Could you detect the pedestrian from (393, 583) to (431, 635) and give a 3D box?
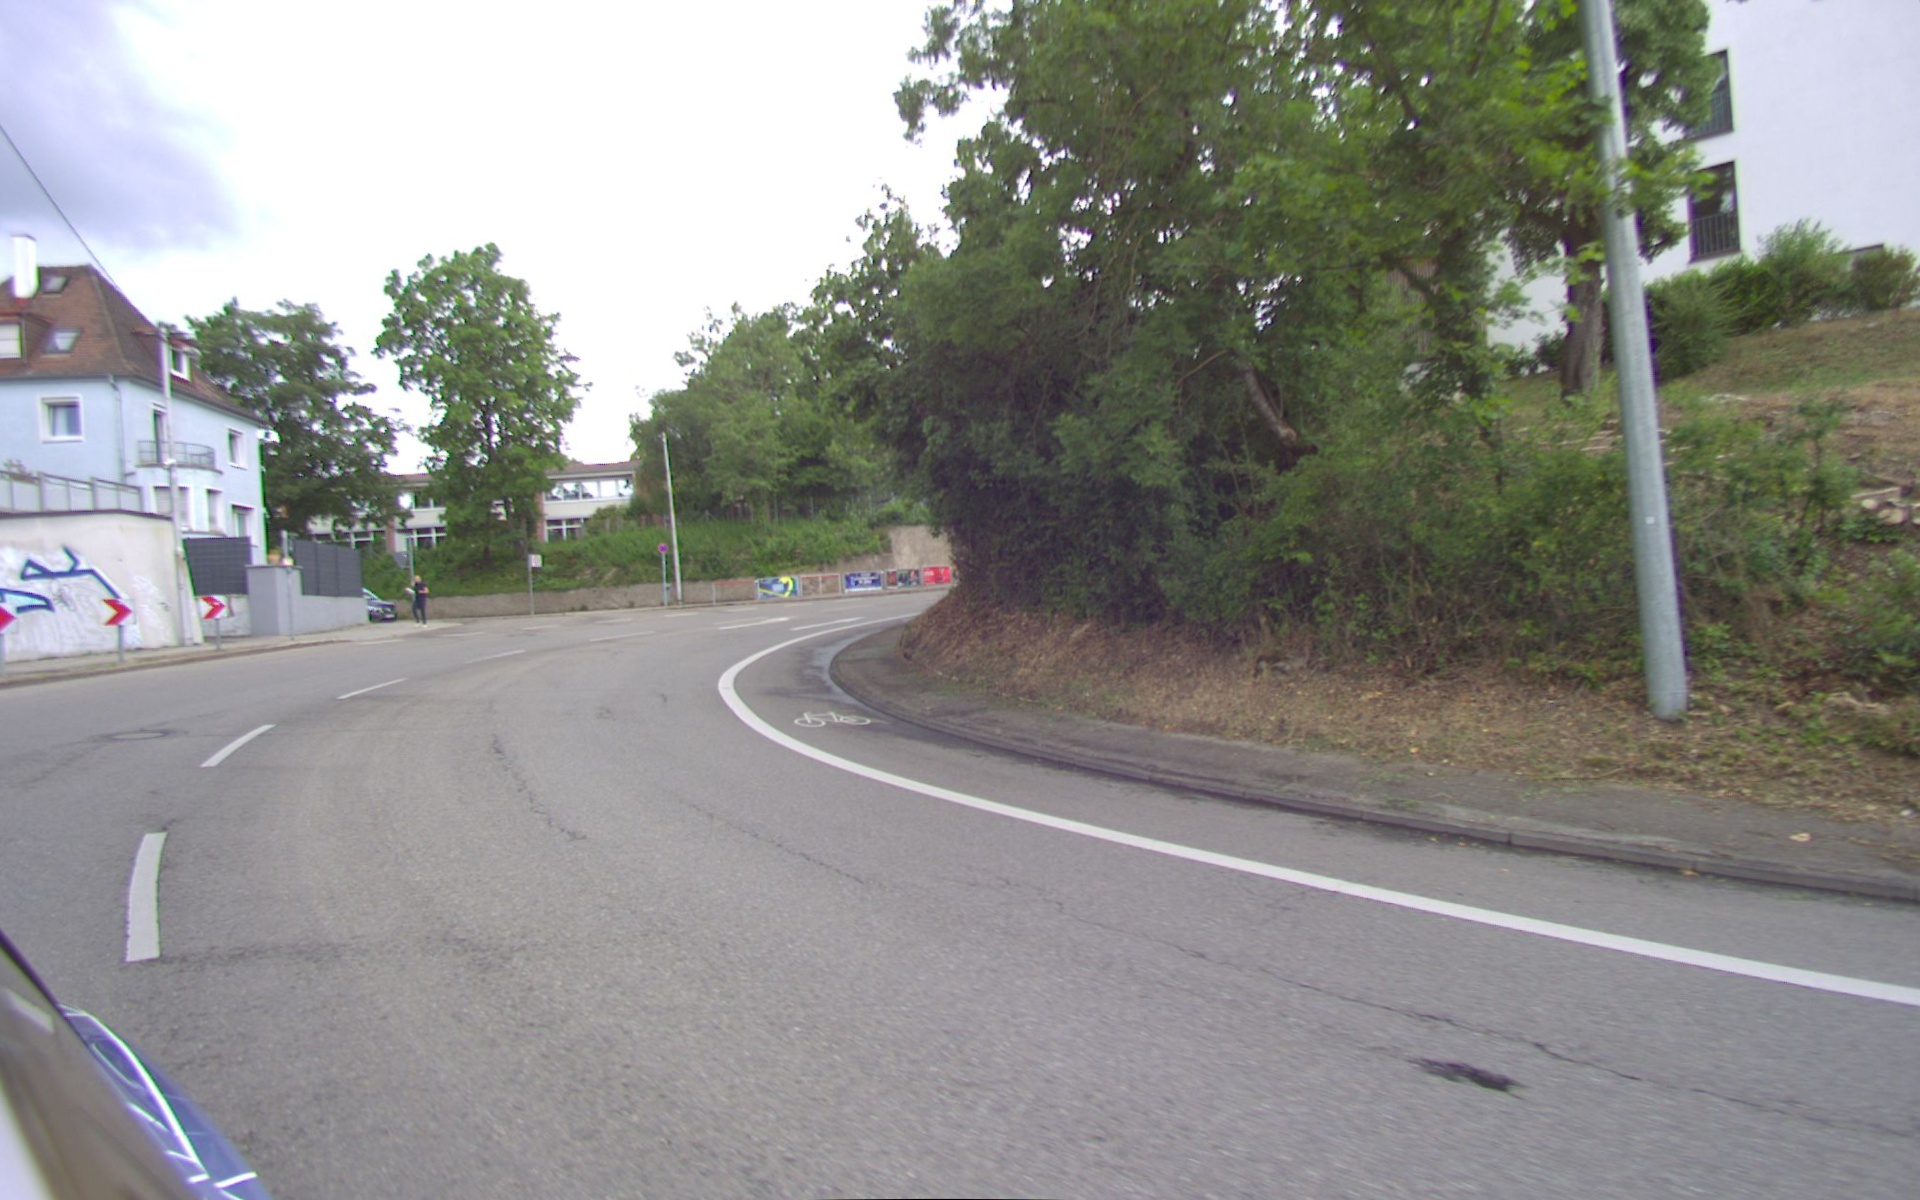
[{"bbox_3d":[-19.666,0.319,36.322,0.573,1.842,0.973,-2,0,34],"label":"pedestrian"}]

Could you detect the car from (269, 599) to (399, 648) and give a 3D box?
[{"bbox_3d":[-27.845,1.023,45.075,4.784,1.878,1.946,-3,0,8],"label":"car"}]
